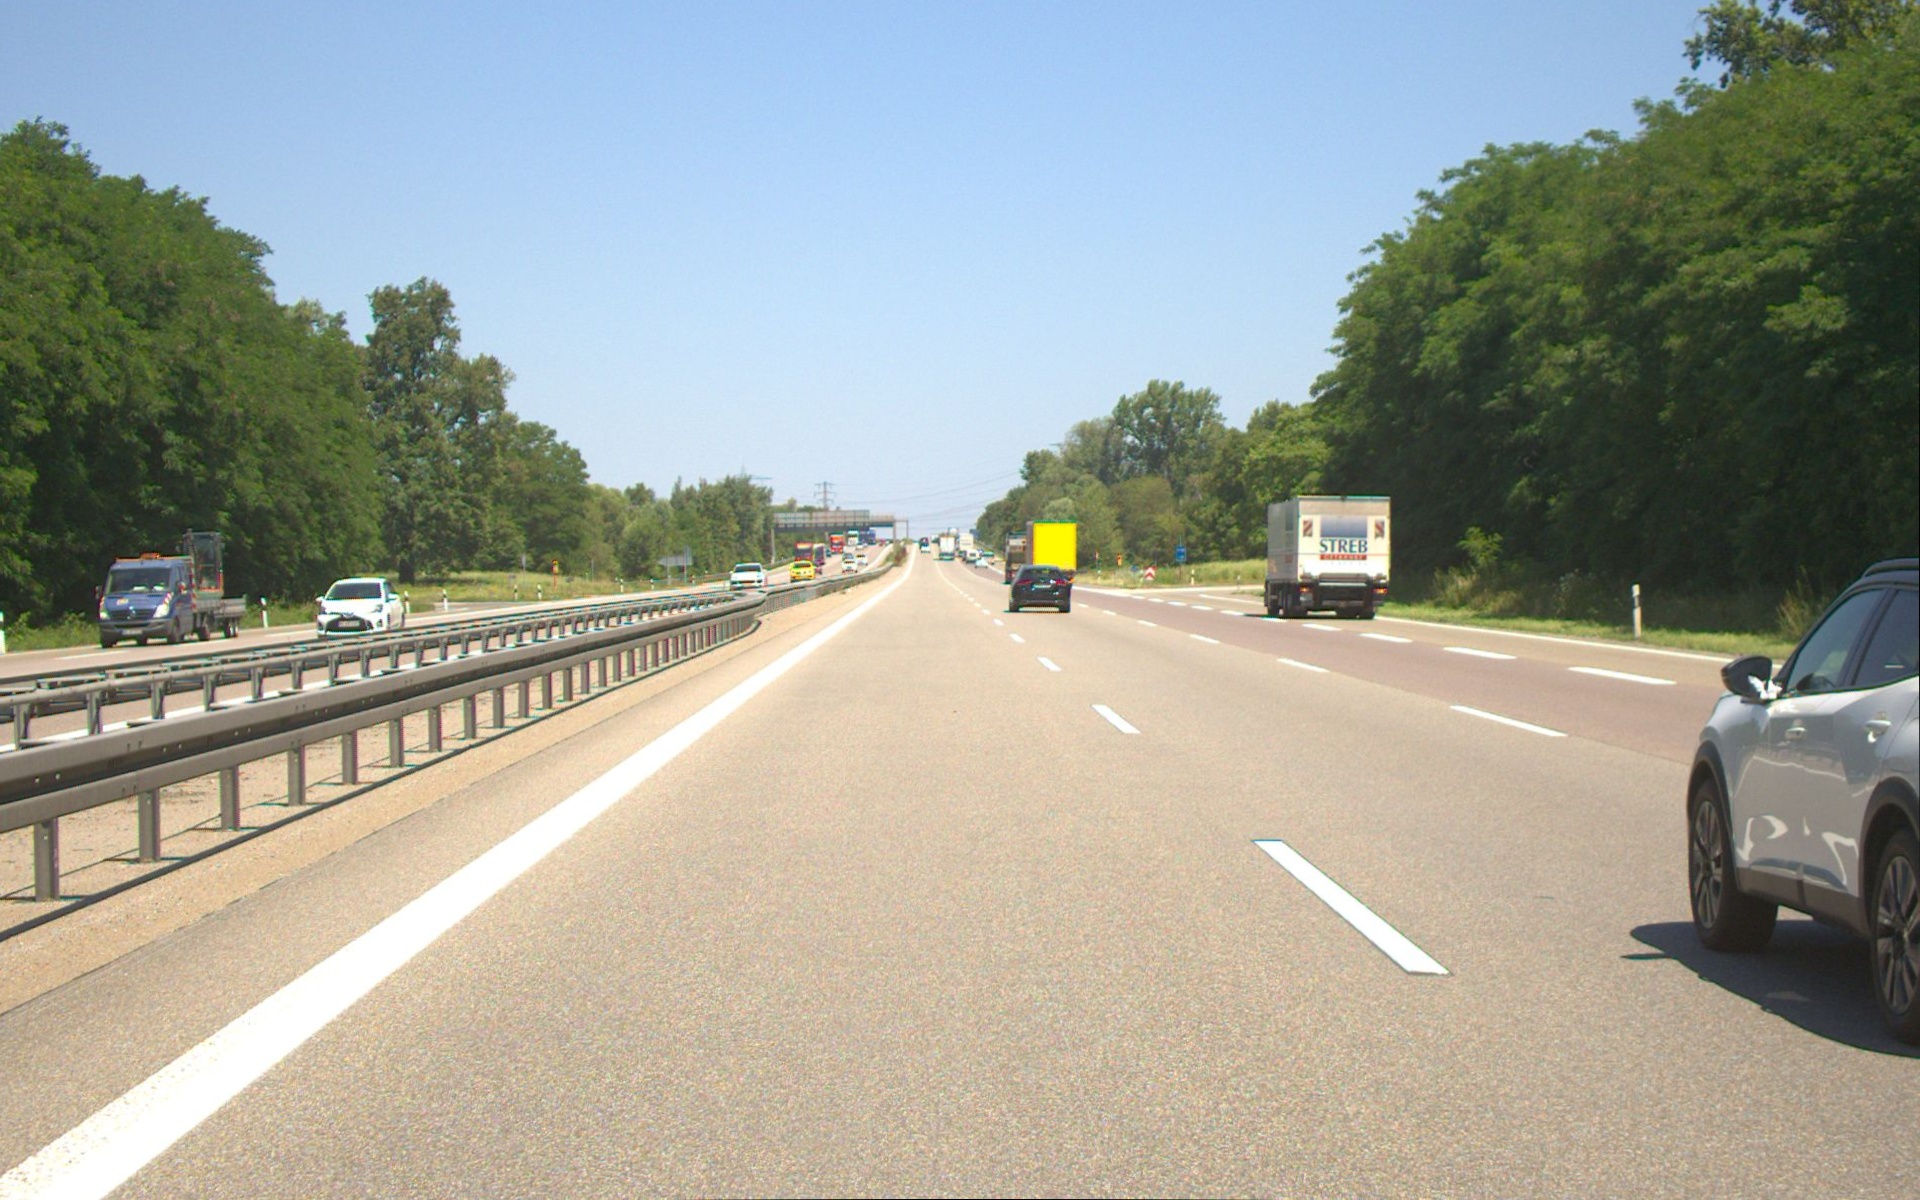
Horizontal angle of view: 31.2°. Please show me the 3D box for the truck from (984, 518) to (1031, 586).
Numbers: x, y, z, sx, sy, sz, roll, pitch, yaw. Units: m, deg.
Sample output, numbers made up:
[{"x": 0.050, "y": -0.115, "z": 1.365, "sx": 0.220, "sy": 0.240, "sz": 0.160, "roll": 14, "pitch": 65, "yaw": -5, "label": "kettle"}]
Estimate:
[{"x": 3.507, "y": -3.576, "z": 257.089, "sx": 3.367, "sy": 4.864, "sz": 15.086, "roll": 1, "pitch": 1, "yaw": 0, "label": "truck"}]

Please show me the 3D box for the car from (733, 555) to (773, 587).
[{"x": -11.787, "y": -1.664, "z": 195.610, "sx": 1.993, "sy": 1.700, "sz": 5.265, "roll": 1, "pitch": 2, "yaw": -1, "label": "car"}]

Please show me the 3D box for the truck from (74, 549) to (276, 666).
[{"x": -21.644, "y": 0.122, "z": 95.623, "sx": 2.753, "sy": 2.980, "sz": 12.856, "roll": -2, "pitch": 1, "yaw": -1, "label": "truck"}]

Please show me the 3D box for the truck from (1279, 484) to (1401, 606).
[{"x": 10.929, "y": -1.563, "z": 99.759, "sx": 3.028, "sy": 3.308, "sz": 10.769, "roll": 1, "pitch": 1, "yaw": 4, "label": "truck"}]

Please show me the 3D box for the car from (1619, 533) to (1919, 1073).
[{"x": 3.737, "y": 0.582, "z": 12.160, "sx": 1.827, "sy": 1.602, "sz": 4.809, "roll": 0, "pitch": 1, "yaw": -1, "label": "car"}]

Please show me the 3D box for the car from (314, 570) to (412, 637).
[{"x": -14.486, "y": 0.063, "z": 83.540, "sx": 1.688, "sy": 1.539, "sz": 4.204, "roll": 1, "pitch": 1, "yaw": -1, "label": "car"}]

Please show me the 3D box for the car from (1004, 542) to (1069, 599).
[{"x": 2.324, "y": -0.899, "z": 105.476, "sx": 1.827, "sy": 1.700, "sz": 4.000, "roll": 1, "pitch": 1, "yaw": -1, "label": "car"}]

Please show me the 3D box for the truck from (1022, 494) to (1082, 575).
[{"x": 5.671, "y": -4.028, "z": 214.263, "sx": 3.377, "sy": 4.864, "sz": 15.086, "roll": 1, "pitch": 1, "yaw": 0, "label": "truck"}]
